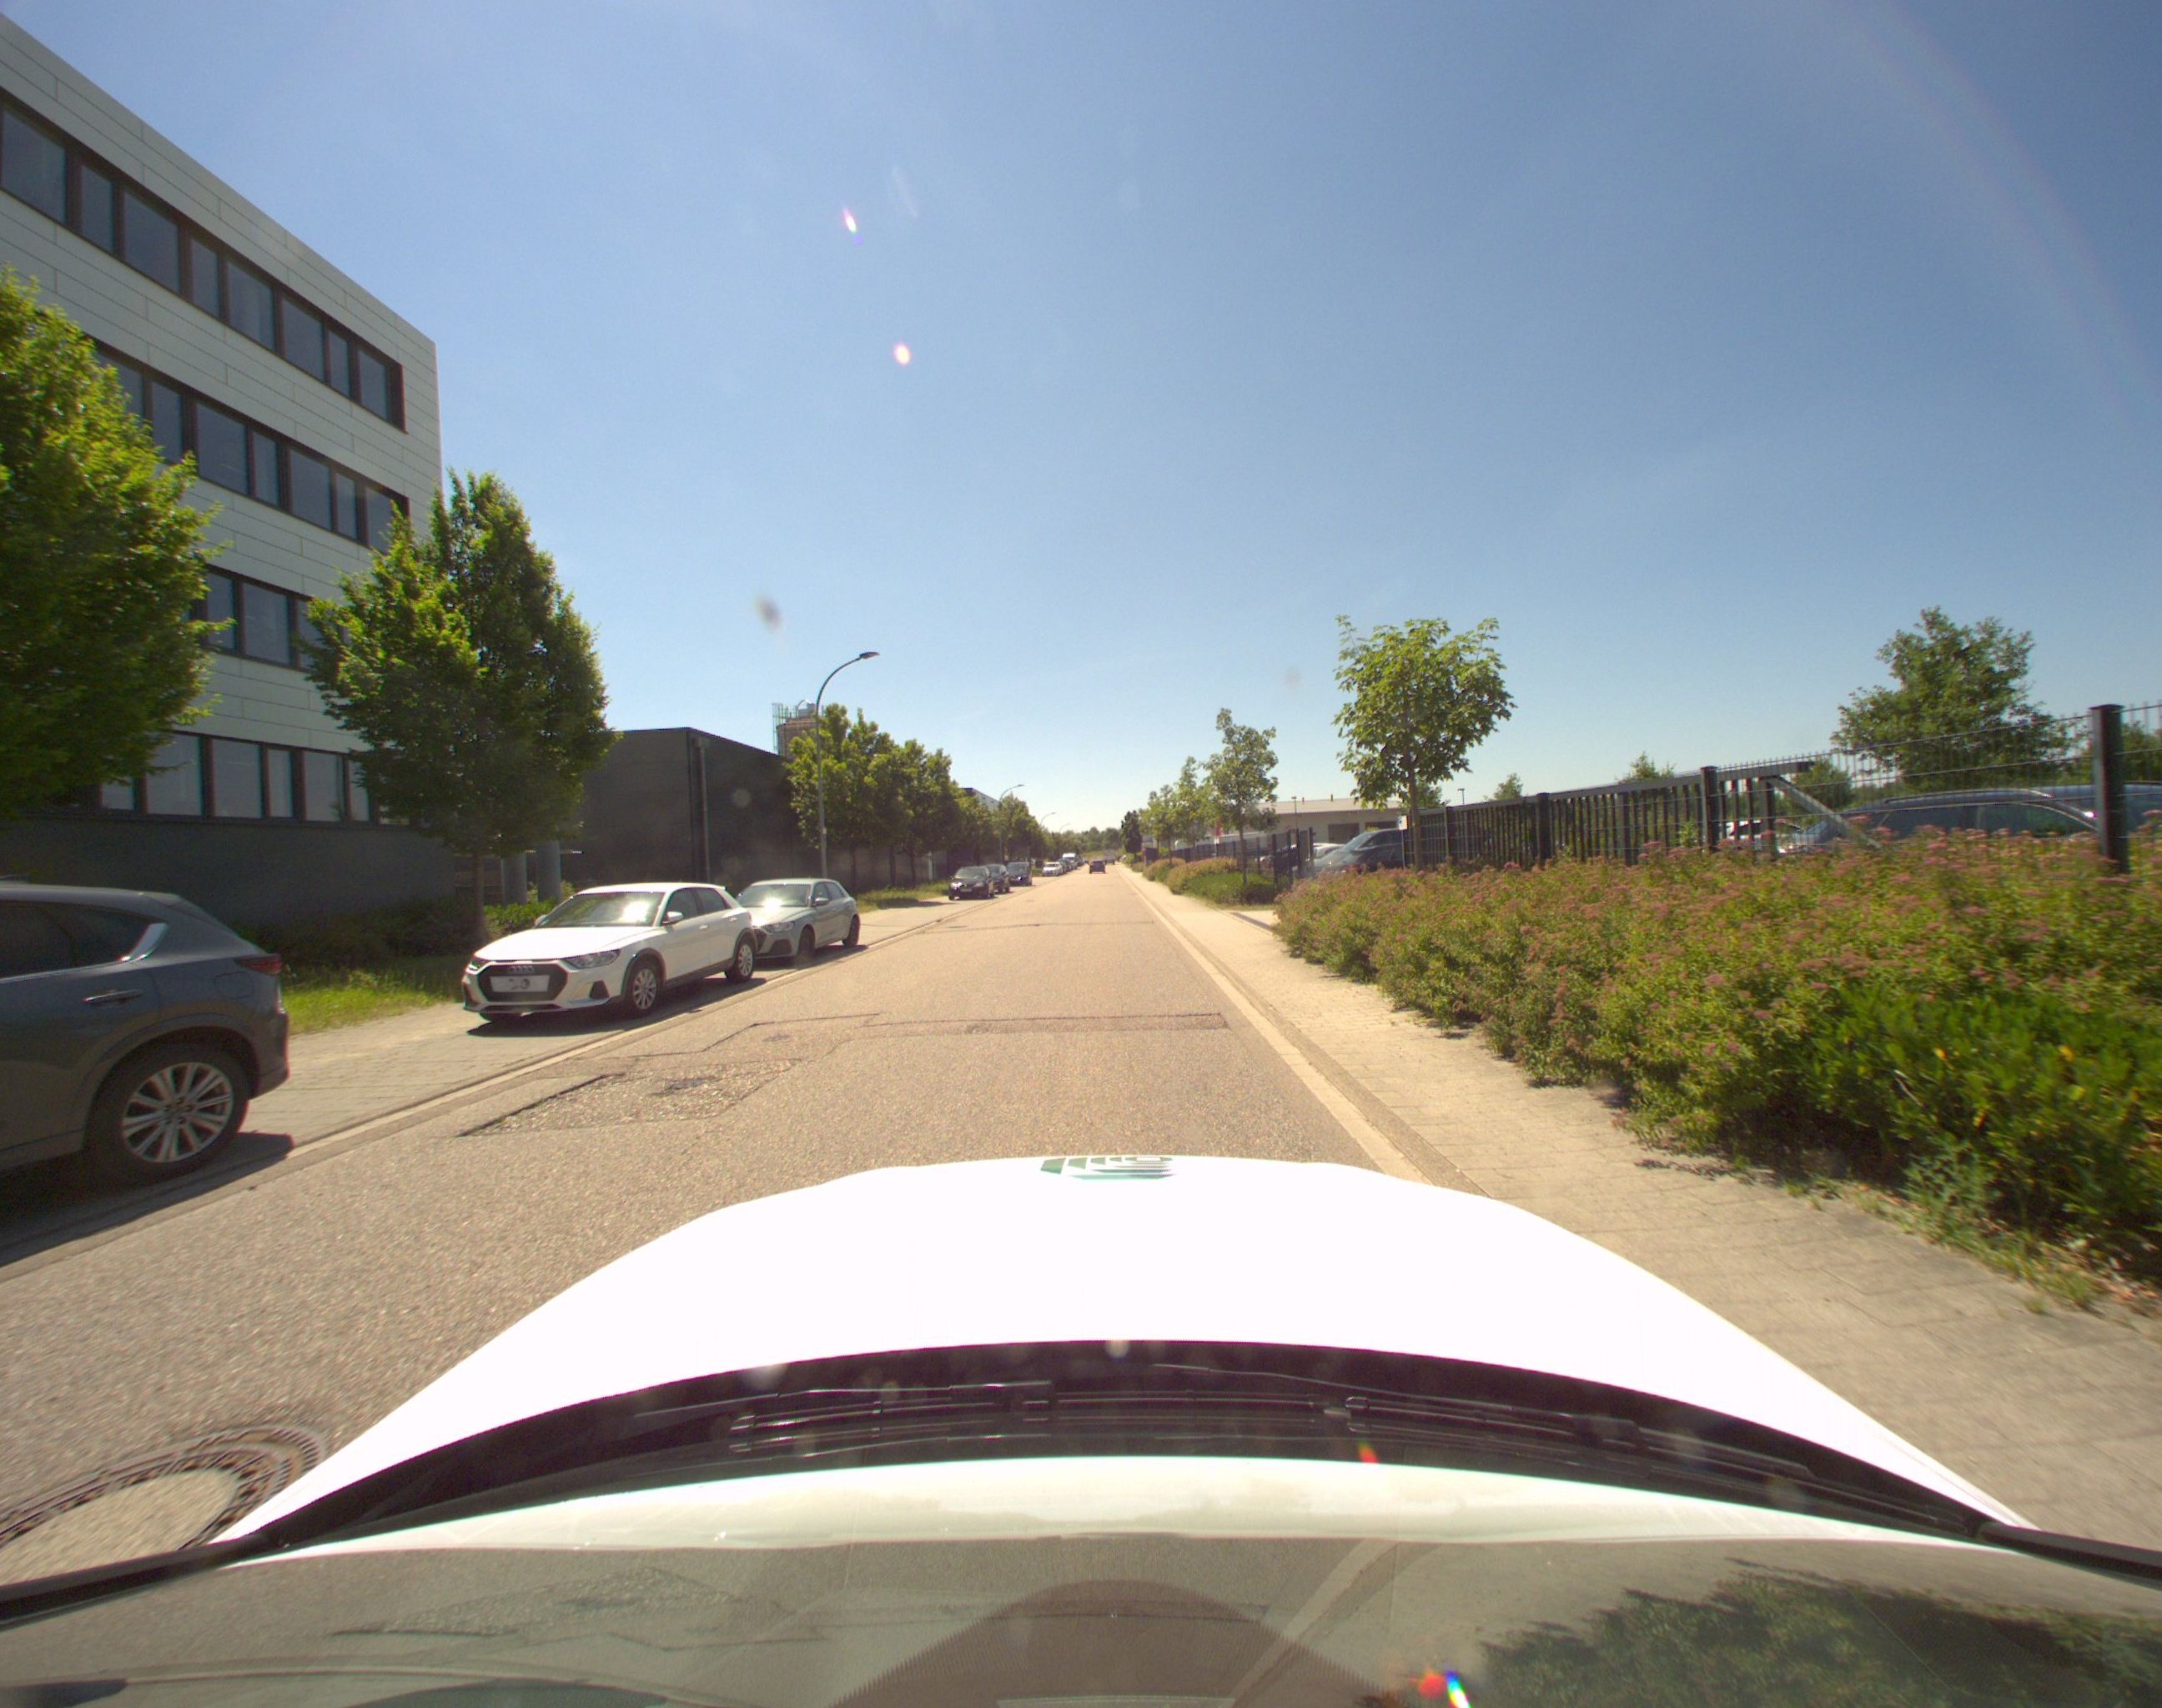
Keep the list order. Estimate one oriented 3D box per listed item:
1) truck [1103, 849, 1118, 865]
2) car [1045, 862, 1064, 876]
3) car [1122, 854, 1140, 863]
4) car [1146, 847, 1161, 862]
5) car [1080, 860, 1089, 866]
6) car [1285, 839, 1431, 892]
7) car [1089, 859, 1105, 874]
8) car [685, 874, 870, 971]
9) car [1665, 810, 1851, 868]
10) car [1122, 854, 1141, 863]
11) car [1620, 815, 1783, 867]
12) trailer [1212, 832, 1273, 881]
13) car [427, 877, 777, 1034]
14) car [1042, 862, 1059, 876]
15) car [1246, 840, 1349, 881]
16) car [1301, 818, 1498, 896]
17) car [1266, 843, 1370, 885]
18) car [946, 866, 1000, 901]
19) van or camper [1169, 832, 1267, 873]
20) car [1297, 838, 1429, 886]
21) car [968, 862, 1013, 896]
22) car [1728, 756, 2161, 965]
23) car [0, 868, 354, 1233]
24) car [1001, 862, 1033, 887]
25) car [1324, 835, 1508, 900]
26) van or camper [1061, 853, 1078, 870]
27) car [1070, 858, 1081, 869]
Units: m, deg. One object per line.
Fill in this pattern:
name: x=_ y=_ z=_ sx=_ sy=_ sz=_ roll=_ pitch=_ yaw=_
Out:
truck: x=5.758 y=0.651 z=160.161 sx=2.921 sy=2.974 sz=6.422 roll=-1 pitch=-1 yaw=2
car: x=-3.029 y=1.659 z=93.057 sx=1.792 sy=1.476 sz=4.557 roll=-2 pitch=0 yaw=2
car: x=10.891 y=0.981 z=177.935 sx=3.864 sy=1.750 sz=1.751 roll=-1 pitch=-1 yaw=-1
car: x=9.757 y=0.118 z=109.952 sx=1.777 sy=1.783 sz=4.910 roll=-4 pitch=-1 yaw=4
car: x=0.885 y=2.211 z=206.459 sx=1.791 sy=1.487 sz=4.256 roll=-2 pitch=0 yaw=3
car: x=9.293 y=0.371 z=27.550 sx=4.330 sy=1.449 sz=1.603 roll=-4 pitch=-1 yaw=0
car: x=1.888 y=1.377 z=92.977 sx=1.783 sy=1.623 sz=3.810 roll=-1 pitch=-1 yaw=2
car: x=-5.364 y=1.140 z=14.976 sx=1.764 sy=1.431 sz=3.942 roll=-2 pitch=-1 yaw=2
car: x=19.746 y=-0.411 z=23.896 sx=3.856 sy=1.403 sz=1.769 roll=-4 pitch=-1 yaw=4
car: x=10.812 y=0.961 z=175.335 sx=3.864 sy=1.750 sz=1.751 roll=-1 pitch=-1 yaw=-1
car: x=20.102 y=-0.401 z=26.515 sx=3.856 sy=1.403 sz=1.769 roll=-4 pitch=-1 yaw=4
trailer: x=8.730 y=0.152 z=44.179 sx=2.815 sy=2.403 sz=1.418 roll=-4 pitch=-1 yaw=-3
car: x=-5.570 y=1.075 z=10.236 sx=1.764 sy=1.431 sz=4.203 roll=-2 pitch=-1 yaw=2
car: x=-3.265 y=1.619 z=87.797 sx=1.715 sy=1.476 sz=3.856 roll=-2 pitch=-1 yaw=-1
car: x=9.381 y=0.300 z=35.584 sx=3.973 sy=1.522 sz=1.823 roll=-3 pitch=-1 yaw=1
car: x=9.487 y=0.098 z=24.547 sx=5.096 sy=1.873 sz=1.903 roll=-4 pitch=-1 yaw=0
car: x=9.478 y=0.387 z=32.723 sx=3.652 sy=1.422 sz=1.645 roll=-3 pitch=-1 yaw=1
car: x=-4.920 y=1.309 z=37.663 sx=1.764 sy=1.431 sz=4.203 roll=-2 pitch=-1 yaw=2
van or camper: x=10.090 y=-0.103 z=60.481 sx=6.734 sy=2.585 sz=2.636 roll=-3 pitch=-1 yaw=0
car: x=10.409 y=0.309 z=30.262 sx=4.264 sy=1.445 sz=1.755 roll=-4 pitch=-1 yaw=0
car: x=-4.779 y=1.293 z=43.780 sx=1.765 sy=1.611 sz=4.852 roll=-2 pitch=0 yaw=1
car: x=8.679 y=0.028 z=8.030 sx=1.537 sy=1.555 sz=3.881 roll=-3 pitch=-1 yaw=2
car: x=-5.782 y=0.914 z=3.106 sx=1.764 sy=1.624 sz=4.584 roll=-2 pitch=-1 yaw=2
car: x=-4.368 y=1.371 z=55.989 sx=1.765 sy=1.611 sz=4.247 roll=-2 pitch=0 yaw=1
car: x=8.972 y=0.350 z=22.055 sx=4.201 sy=1.422 sz=1.765 roll=-4 pitch=-1 yaw=0
van or camper: x=-1.837 y=1.195 z=128.985 sx=2.069 sy=2.483 sz=6.137 roll=-1 pitch=-1 yaw=4
car: x=-1.009 y=1.793 z=149.265 sx=1.791 sy=1.848 sz=4.256 roll=-2 pitch=0 yaw=3
